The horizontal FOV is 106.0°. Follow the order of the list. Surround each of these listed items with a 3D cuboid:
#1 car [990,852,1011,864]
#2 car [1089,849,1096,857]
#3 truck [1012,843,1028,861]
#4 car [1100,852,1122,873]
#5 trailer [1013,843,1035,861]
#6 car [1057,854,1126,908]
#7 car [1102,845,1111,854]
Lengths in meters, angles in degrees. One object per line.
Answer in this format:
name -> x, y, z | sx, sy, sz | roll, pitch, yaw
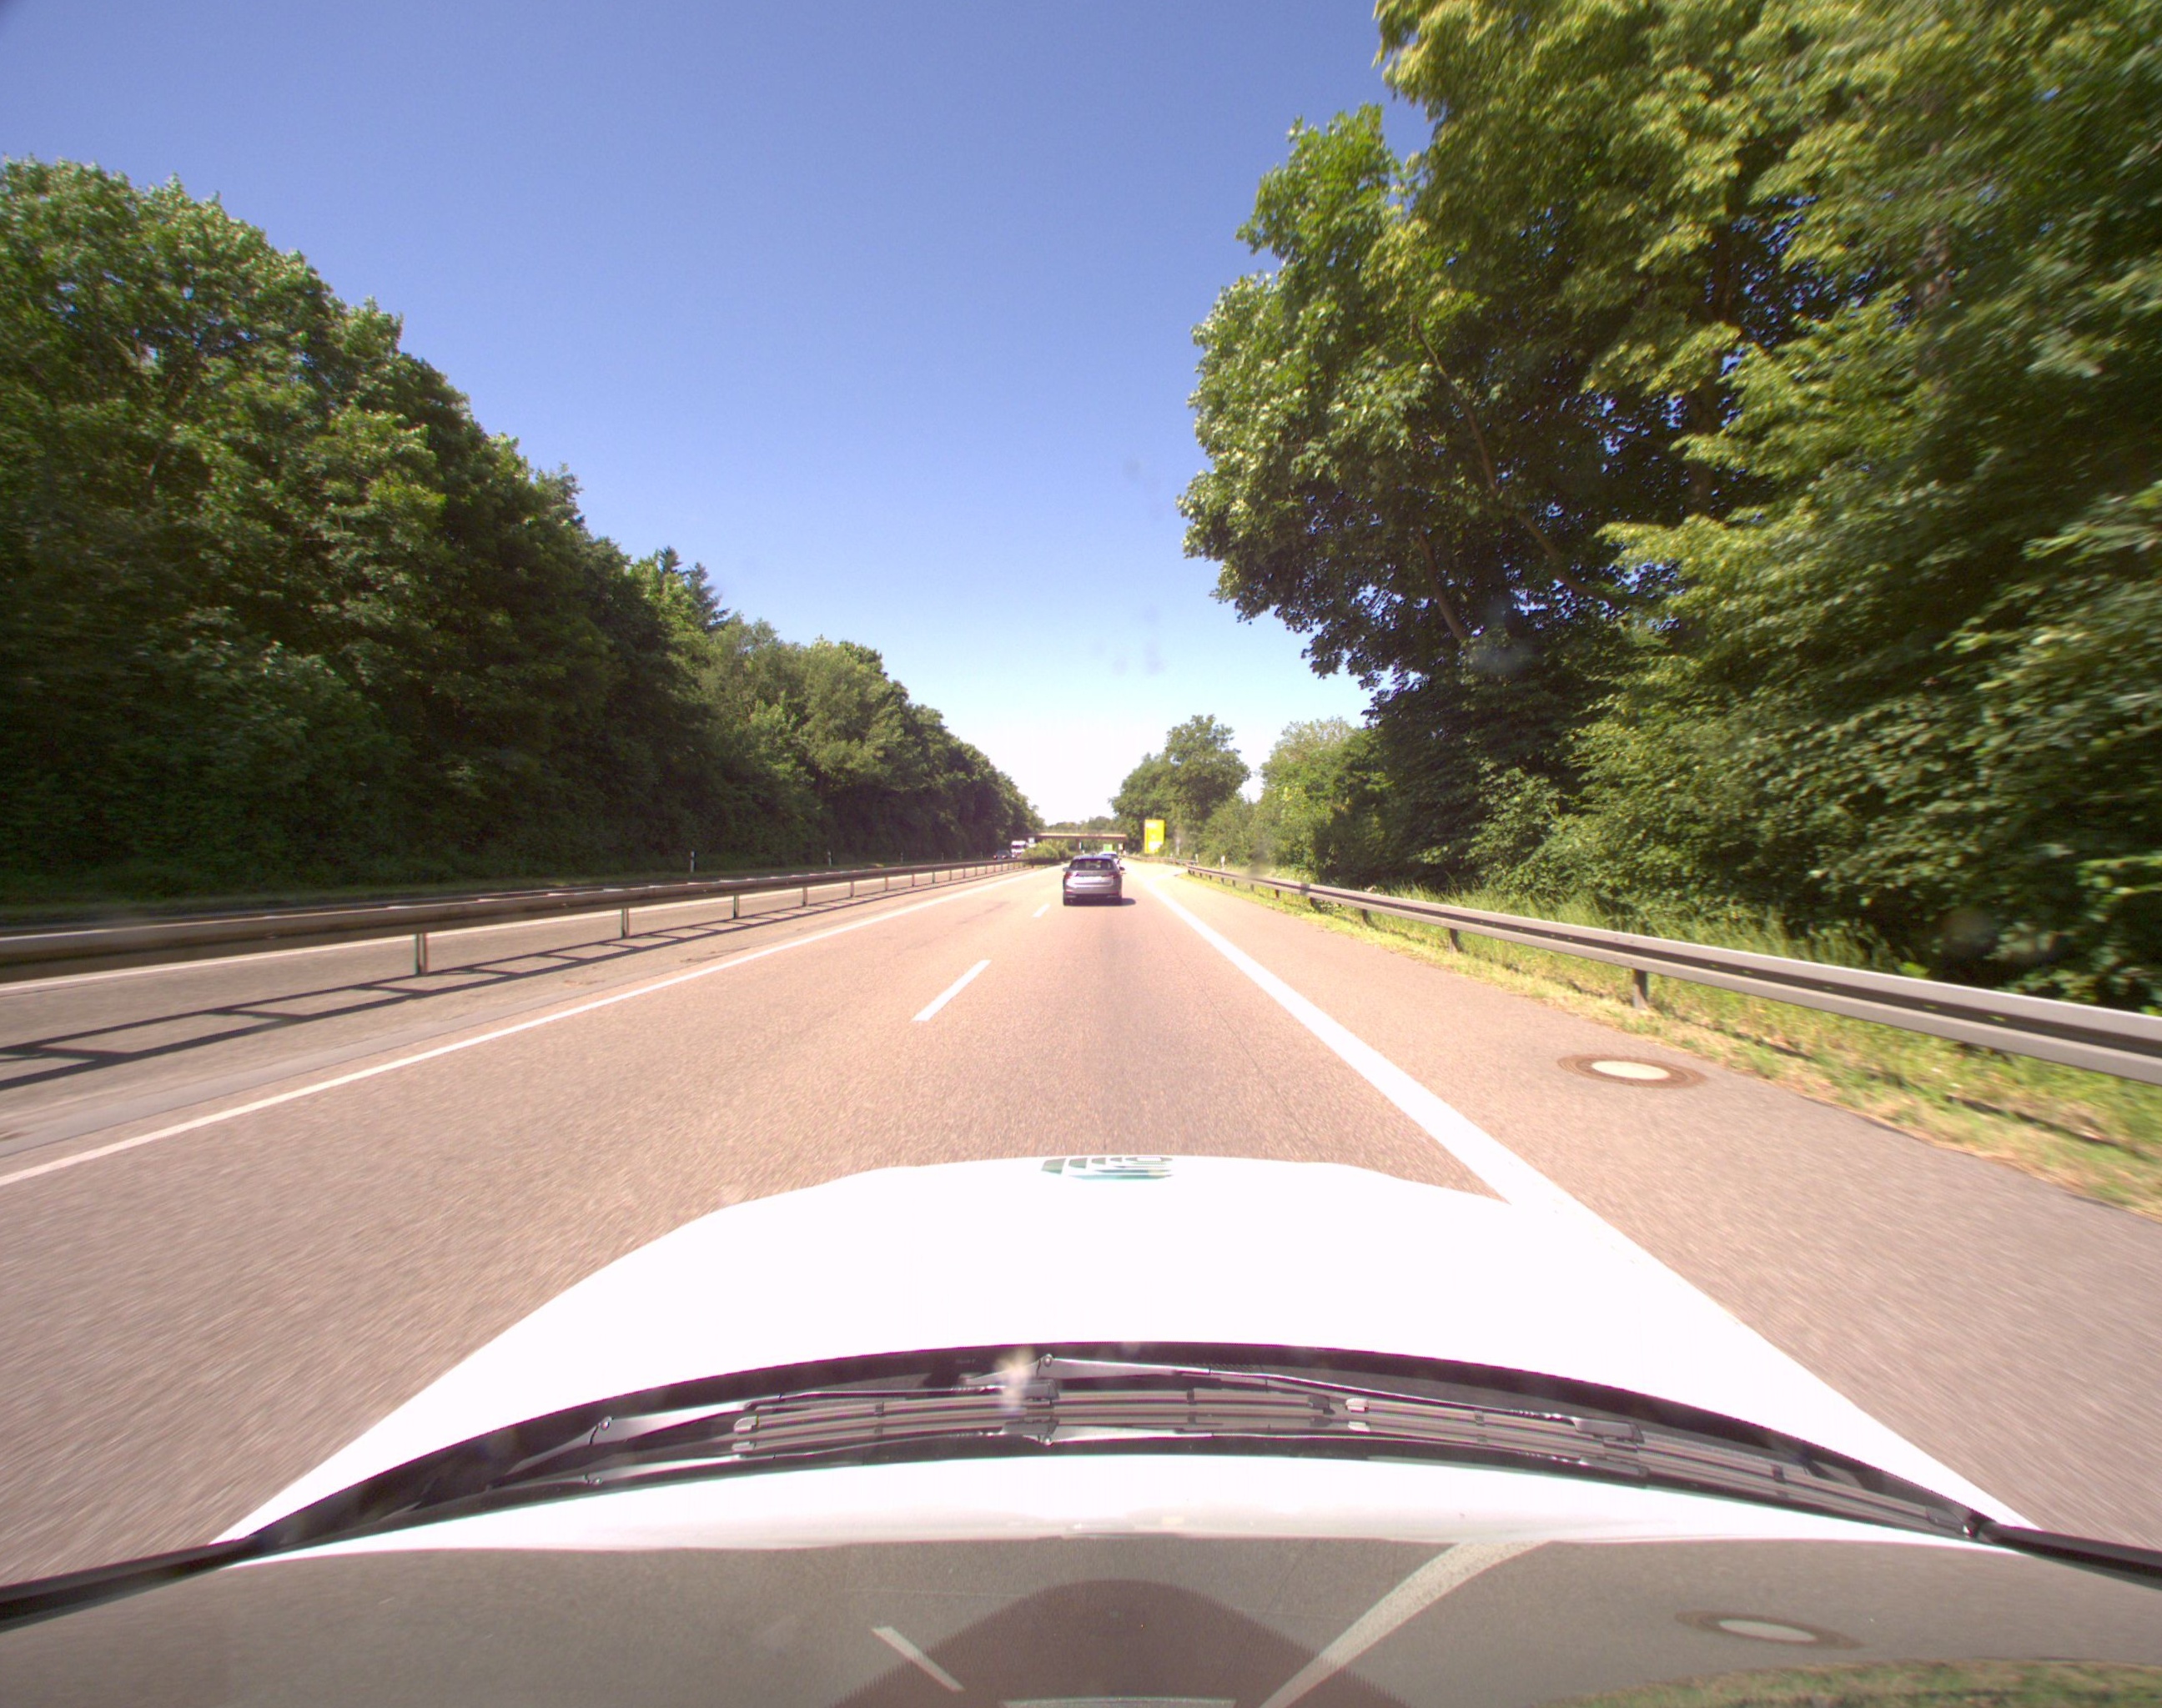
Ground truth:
car -> -10.268, 0.457, 104.163 | 1.834, 1.510, 4.557 | 0, 0, 4
car -> 3.306, -0.262, 230.223 | 1.986, 2.013, 4.002 | 0, 0, 2
truck -> -10.988, -0.353, 145.867 | 2.416, 3.258, 4.002 | 0, 0, 2
car -> 2.136, 0.576, 57.371 | 1.516, 1.446, 3.343 | 0, 0, 3
trailer -> -10.658, -0.309, 153.270 | 2.483, 3.235, 14.439 | 0, 0, 2
car -> 0.387, 0.744, 24.142 | 1.832, 1.472, 3.627 | 0, 0, 3
car -> 7.620, -1.288, 241.580 | 2.738, 2.654, 4.002 | 0, 0, 2
